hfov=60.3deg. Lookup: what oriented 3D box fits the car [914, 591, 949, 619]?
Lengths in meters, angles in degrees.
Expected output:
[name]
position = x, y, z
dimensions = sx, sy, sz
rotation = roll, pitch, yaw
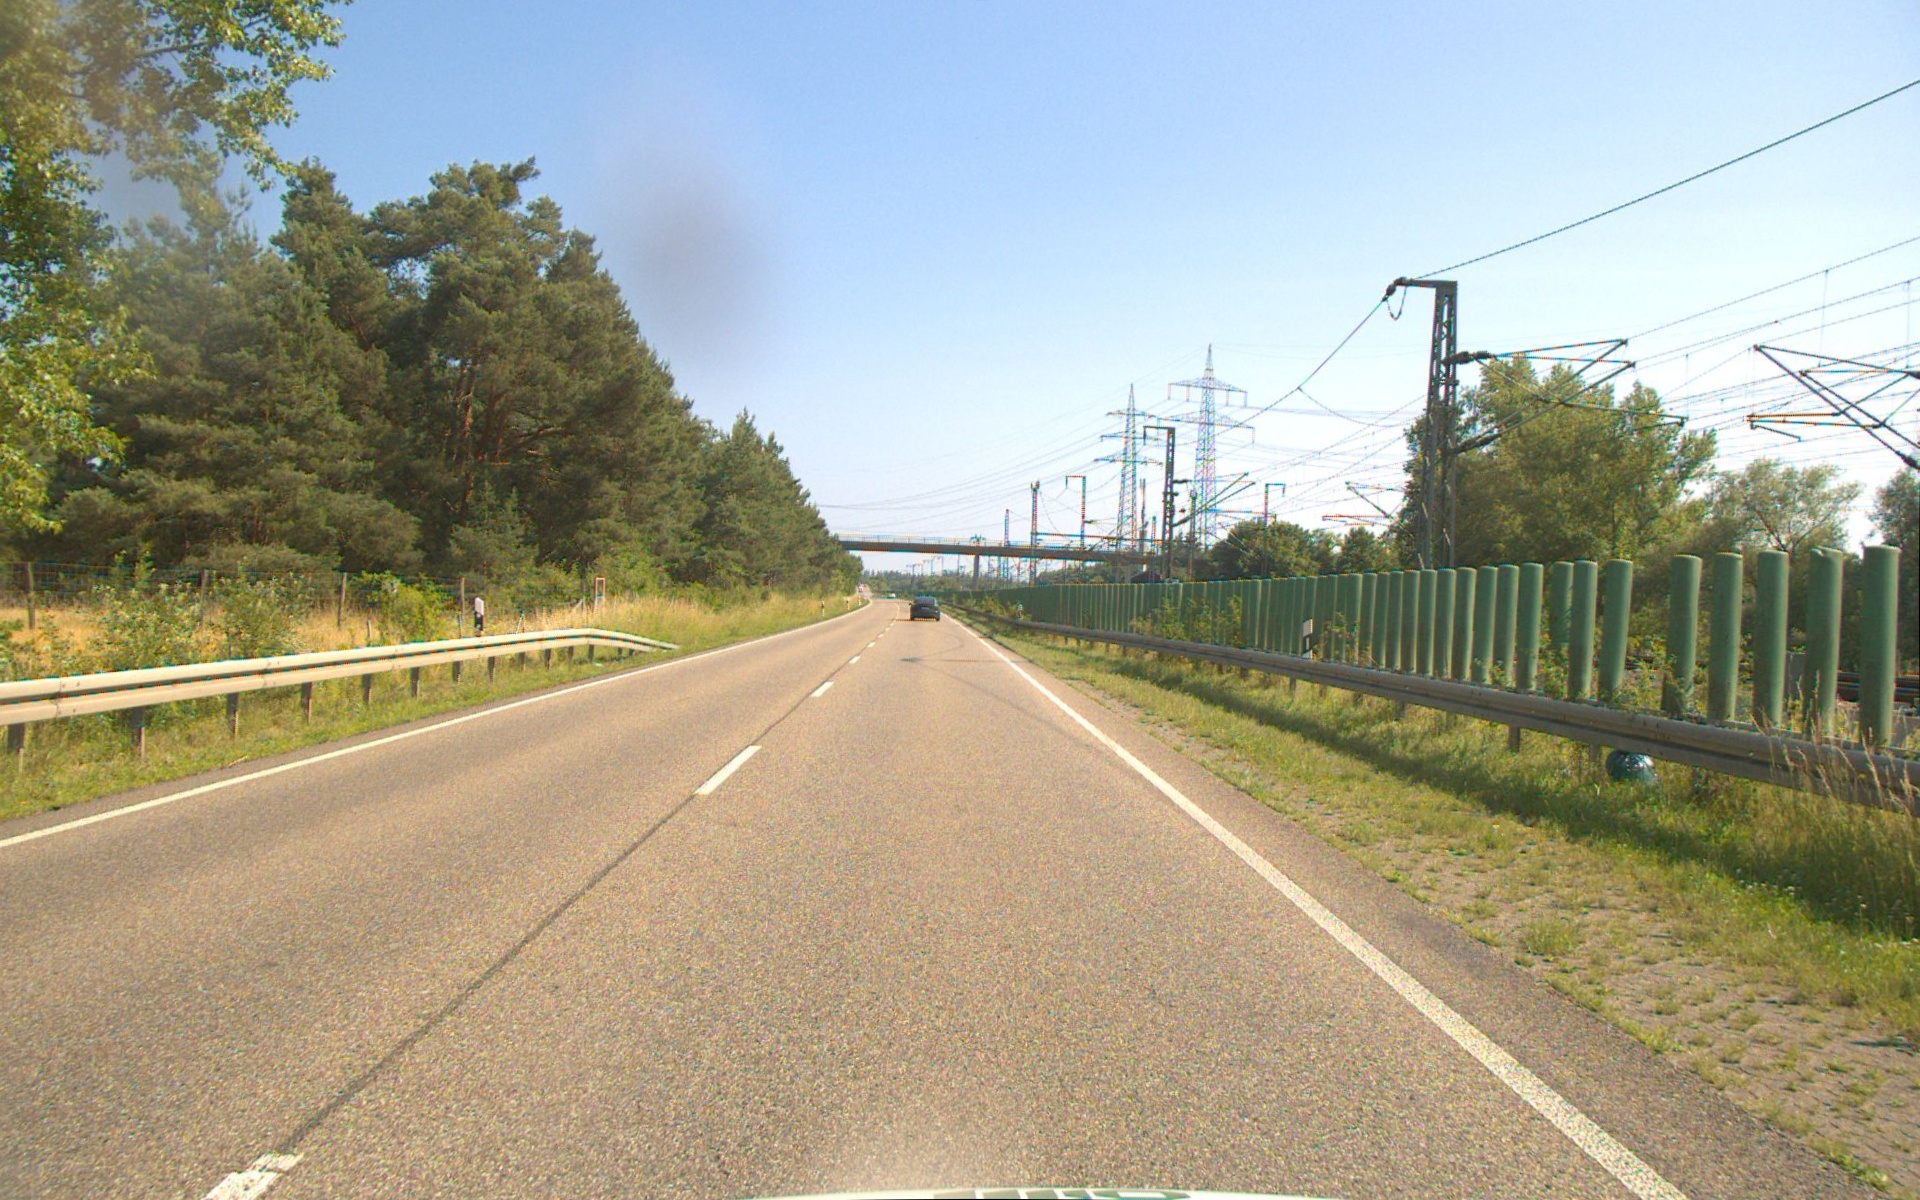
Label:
[car]
position = -1.754, 0.289, 101.156
dimensions = 1.823, 1.670, 3.995
rotation = 0, 0, -6
